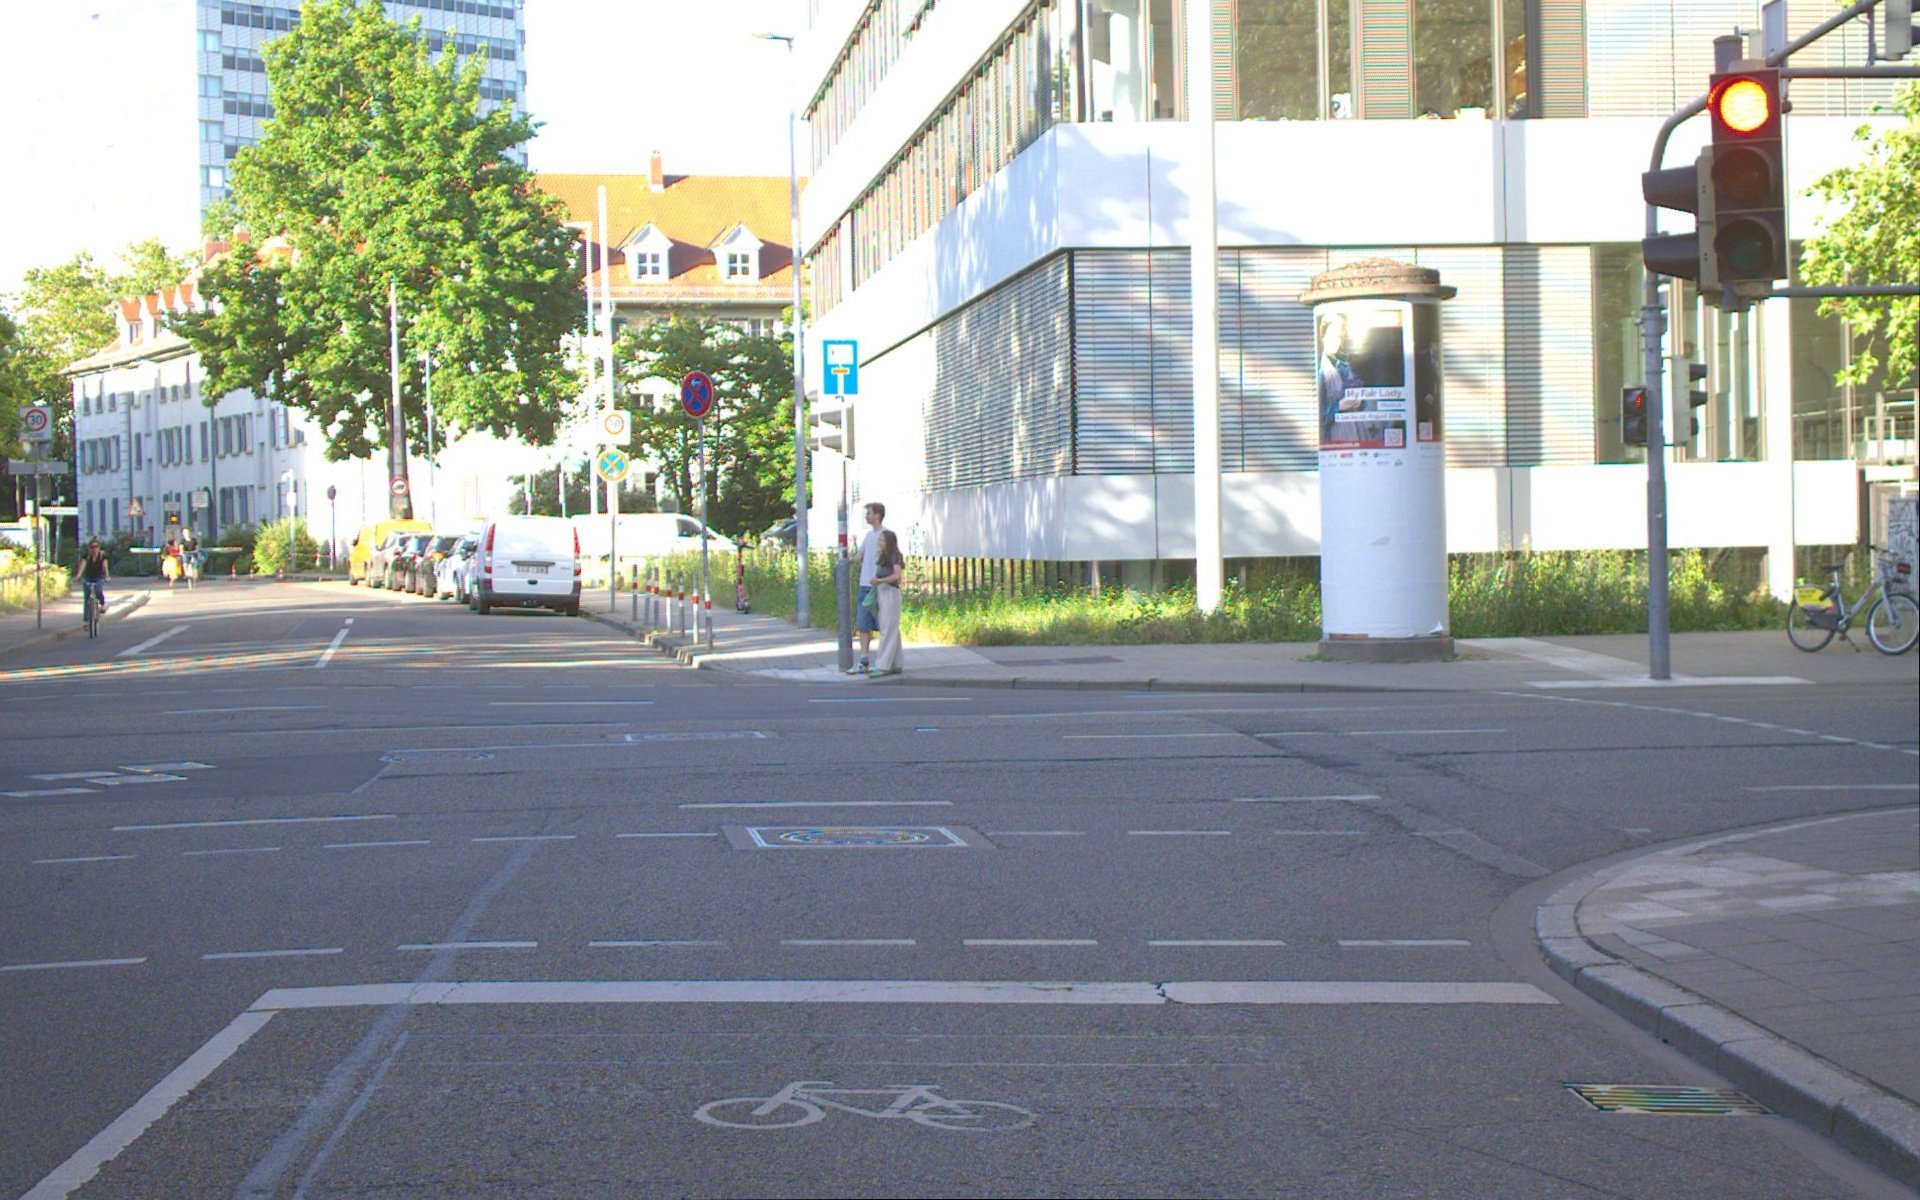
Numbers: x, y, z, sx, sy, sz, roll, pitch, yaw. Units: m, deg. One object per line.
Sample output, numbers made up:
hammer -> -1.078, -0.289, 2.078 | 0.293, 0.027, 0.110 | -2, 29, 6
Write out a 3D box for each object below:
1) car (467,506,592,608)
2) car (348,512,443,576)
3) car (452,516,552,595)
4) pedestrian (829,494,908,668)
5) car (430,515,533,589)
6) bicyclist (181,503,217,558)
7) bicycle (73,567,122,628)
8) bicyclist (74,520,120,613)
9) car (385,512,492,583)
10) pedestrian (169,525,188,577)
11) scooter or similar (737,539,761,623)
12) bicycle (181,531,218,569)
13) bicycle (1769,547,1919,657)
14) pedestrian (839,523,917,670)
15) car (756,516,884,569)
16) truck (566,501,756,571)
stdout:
car -> -8.139, -0.843, 64.695 | 2.084, 1.789, 4.417 | -1, 2, -10
car -> -15.703, -1.577, 95.517 | 1.888, 1.650, 4.417 | -1, 2, -19
car -> -9.749, -0.972, 72.965 | 1.888, 1.550, 4.417 | -1, 2, -10
pedestrian -> -1.005, -0.215, 37.830 | 0.560, 1.844, 0.677 | -3, 2, 16
car -> -10.923, -1.118, 78.335 | 1.888, 1.550, 4.417 | -1, 2, -13
bicyclist -> -21.624, -1.961, 97.693 | 0.865, 1.510, 1.019 | -4, 1, -10
bicycle -> -14.394, -0.049, 57.403 | 0.615, 0.966, 1.842 | -2, 1, -9
bicyclist -> -14.406, -0.562, 57.405 | 0.615, 1.527, 0.903 | -2, 1, -9
car -> -13.007, -1.335, 85.582 | 1.888, 1.650, 4.417 | -1, 2, -19
pedestrian -> -24.076, -1.514, 105.901 | 0.433, 1.602, 0.493 | -2, 1, -26
scooter or similar -> -3.593, -0.331, 58.593 | 0.330, 1.419, 1.335 | 1, 0, -6
bicycle -> -21.600, -1.424, 97.690 | 0.865, 1.006, 2.415 | -4, 1, -10
bicycle -> 9.310, 0.008, 36.061 | 0.507, 1.045, 1.687 | -4, 5, -35
pedestrian -> -0.889, -0.044, 37.226 | 0.559, 1.535, 0.677 | -5, 2, -18
car -> -4.256, -1.743, 104.261 | 3.554, 1.541, 1.559 | -1, 1, -19
truck -> -8.971, -1.923, 103.072 | 5.336, 2.007, 2.001 | -1, 1, -19
